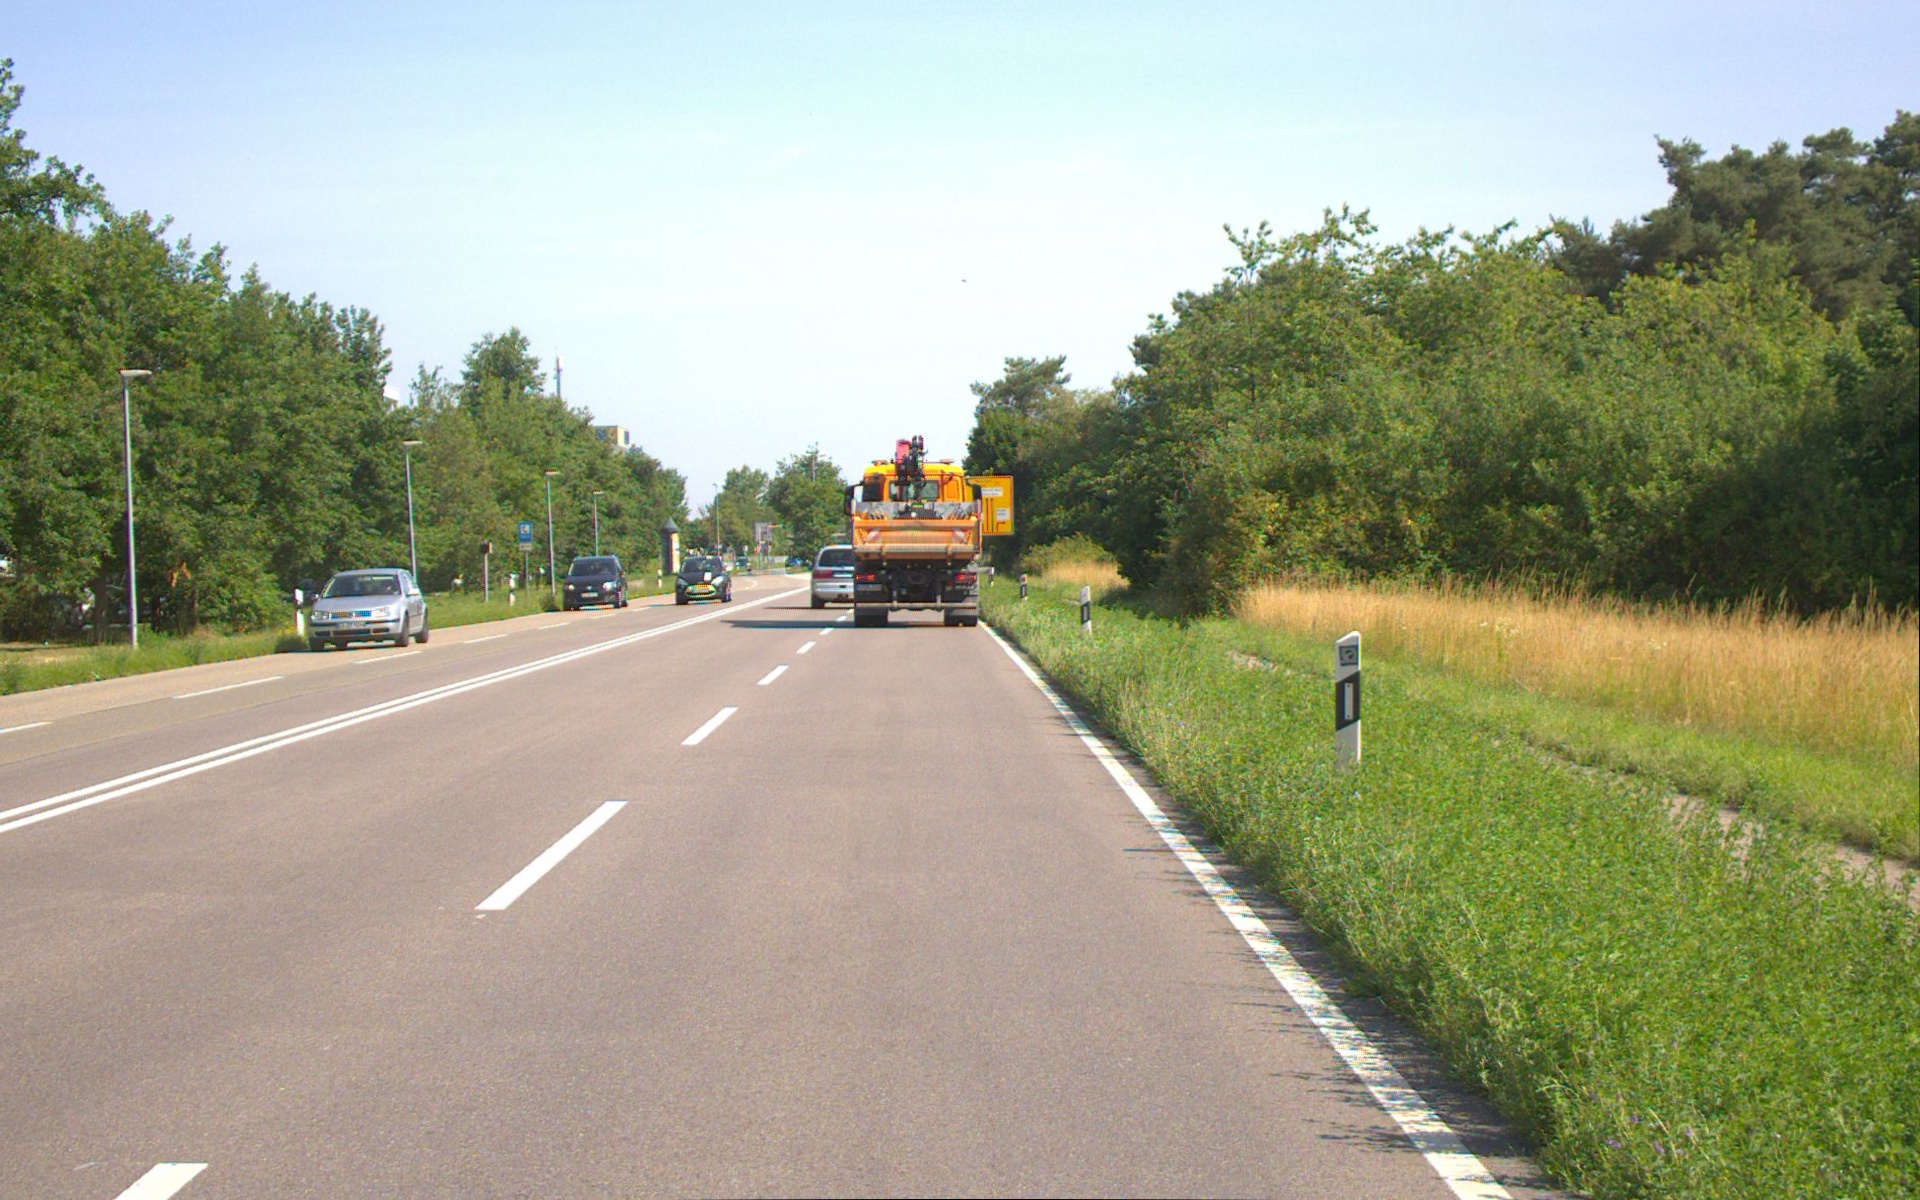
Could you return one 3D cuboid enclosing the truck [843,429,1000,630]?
[{"bbox_3d":[-0.875,-1.430,70.465,2.871,3.867,7.401,1,1,-3],"label":"truck"}]

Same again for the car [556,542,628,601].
[{"bbox_3d":[-11.382,-0.899,106.603,1.825,1.666,4.390,-3,1,-2],"label":"car"}]

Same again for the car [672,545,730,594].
[{"bbox_3d":[-8.153,-0.976,108.354,1.517,1.445,3.775,-3,1,-1],"label":"car"}]

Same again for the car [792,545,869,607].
[{"bbox_3d":[-3.475,-0.654,92.091,1.993,1.578,4.001,-1,1,-3],"label":"car"}]

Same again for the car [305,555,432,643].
[{"bbox_3d":[-10.665,-0.044,62.170,1.598,1.437,4.000,-3,1,-1],"label":"car"}]
